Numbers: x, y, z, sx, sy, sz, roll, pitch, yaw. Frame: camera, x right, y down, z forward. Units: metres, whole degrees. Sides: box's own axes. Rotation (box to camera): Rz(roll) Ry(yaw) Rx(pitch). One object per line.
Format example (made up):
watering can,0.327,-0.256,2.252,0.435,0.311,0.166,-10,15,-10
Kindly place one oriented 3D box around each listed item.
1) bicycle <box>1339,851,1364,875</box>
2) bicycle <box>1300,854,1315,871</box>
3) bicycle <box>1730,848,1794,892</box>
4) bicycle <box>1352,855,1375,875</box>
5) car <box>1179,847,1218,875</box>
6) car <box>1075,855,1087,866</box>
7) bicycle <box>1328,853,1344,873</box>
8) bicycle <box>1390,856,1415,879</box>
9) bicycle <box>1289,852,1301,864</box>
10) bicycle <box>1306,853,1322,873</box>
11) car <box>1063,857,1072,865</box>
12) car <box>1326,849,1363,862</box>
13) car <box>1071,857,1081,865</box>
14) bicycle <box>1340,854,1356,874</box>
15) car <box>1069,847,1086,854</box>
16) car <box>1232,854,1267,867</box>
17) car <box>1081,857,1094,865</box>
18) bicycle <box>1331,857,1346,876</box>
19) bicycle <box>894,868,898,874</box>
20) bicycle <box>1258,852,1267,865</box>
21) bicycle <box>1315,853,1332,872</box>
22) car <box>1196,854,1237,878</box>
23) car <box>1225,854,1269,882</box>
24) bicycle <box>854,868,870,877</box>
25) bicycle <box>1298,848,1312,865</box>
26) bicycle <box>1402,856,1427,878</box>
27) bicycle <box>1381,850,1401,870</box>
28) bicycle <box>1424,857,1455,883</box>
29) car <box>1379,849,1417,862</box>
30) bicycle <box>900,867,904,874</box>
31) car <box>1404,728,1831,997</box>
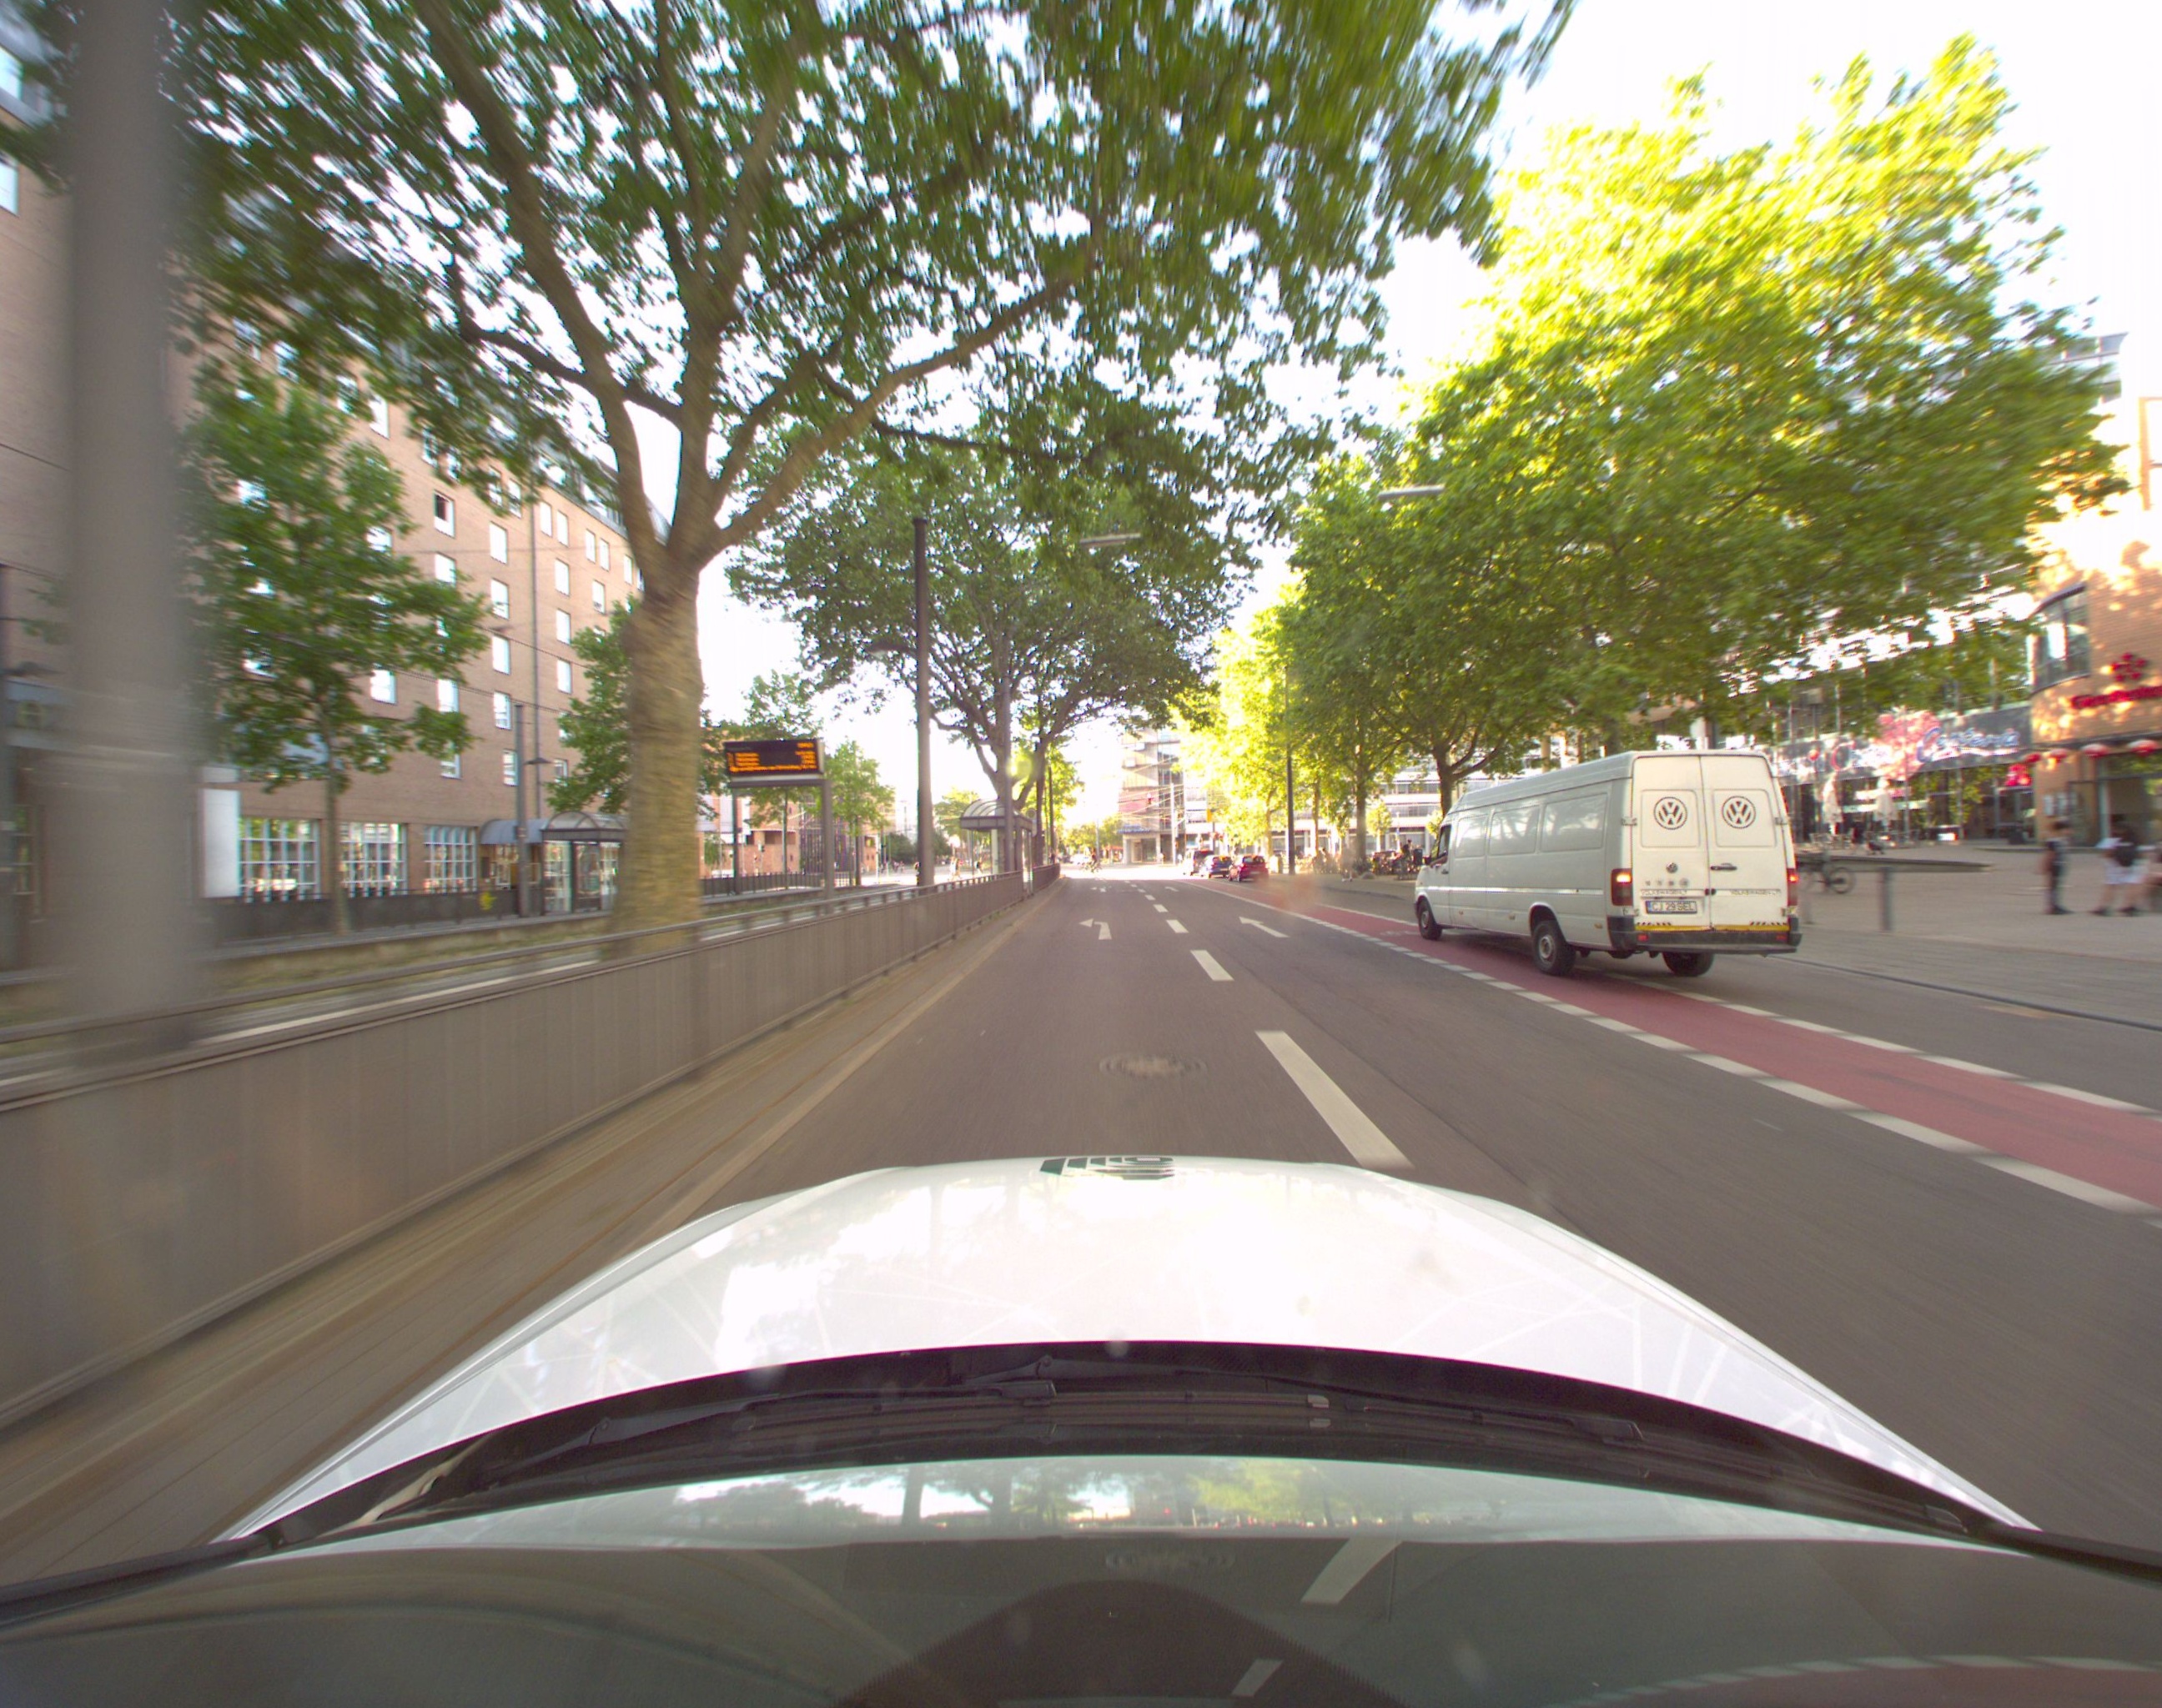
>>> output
bicycle,14.516,0.473,43.739,0.594,1.264,1.875,-2,0,-2
bicycle,14.670,0.532,52.793,0.625,1.057,1.574,-2,0,4
bicycle,17.352,0.401,20.797,0.548,1.077,1.483,-2,0,10
bicycle,15.217,0.568,43.835,0.594,1.032,1.654,-2,0,-2
car,8.589,0.532,59.934,1.988,1.966,5.134,0,0,-1
car,-0.030,1.156,147.493,1.988,1.991,3.997,-2,0,-2
bicycle,15.113,0.524,48.242,0.590,1.116,1.837,-2,0,26
bicycle,14.568,0.607,36.913,0.449,0.980,1.763,-2,0,2
bicycle,17.179,0.324,65.321,0.449,0.983,1.475,-2,0,-3
bicycle,14.074,0.545,49.244,0.590,1.116,1.837,-2,0,26
car,-3.078,1.500,184.525,1.988,1.662,3.997,-2,0,-2
car,33.977,0.222,104.971,4.222,1.560,1.797,-2,0,4
car,-0.982,1.386,162.974,1.988,1.662,3.997,-2,0,-2
bicycle,15.768,0.557,48.005,0.601,1.116,1.837,-2,0,26
car,-0.811,-0.815,199.159,3.735,1.750,1.788,0,-1,12
car,21.962,0.861,106.015,4.220,1.602,1.798,-2,0,5
car,1.157,1.233,140.837,1.988,1.332,3.997,-2,0,-2
bicycle,16.797,0.812,53.089,0.419,1.159,1.475,-2,0,-3
bicycle,-27.775,2.523,122.269,0.512,0.881,1.833,-2,0,-9
bicycle,16.236,0.367,72.916,0.563,1.126,1.781,-2,0,5
bicycle,14.463,0.503,48.521,0.590,1.116,1.961,-2,0,26
car,8.814,0.767,53.327,1.761,1.464,4.213,-2,0,-3
car,9.056,0.737,44.631,1.554,1.464,3.619,-1,0,-2
bicycle,-30.375,2.575,113.179,2.106,1.239,0.448,-2,0,-38
bicycle,18.041,0.213,65.497,0.449,1.286,1.885,-2,0,-3
bicycle,15.124,0.585,36.959,0.449,0.980,1.763,-2,0,2
bicycle,18.554,0.352,48.773,0.420,1.159,1.471,-2,0,-10
bicycle,14.105,0.622,32.074,0.449,0.980,1.763,-2,0,2
car,40.815,0.166,104.868,4.222,1.560,1.797,-2,0,4
bicycle,-26.972,2.476,122.605,0.512,0.881,1.833,-2,0,-9
car,6.751,0.103,11.568,1.985,2.724,6.566,0,0,3
